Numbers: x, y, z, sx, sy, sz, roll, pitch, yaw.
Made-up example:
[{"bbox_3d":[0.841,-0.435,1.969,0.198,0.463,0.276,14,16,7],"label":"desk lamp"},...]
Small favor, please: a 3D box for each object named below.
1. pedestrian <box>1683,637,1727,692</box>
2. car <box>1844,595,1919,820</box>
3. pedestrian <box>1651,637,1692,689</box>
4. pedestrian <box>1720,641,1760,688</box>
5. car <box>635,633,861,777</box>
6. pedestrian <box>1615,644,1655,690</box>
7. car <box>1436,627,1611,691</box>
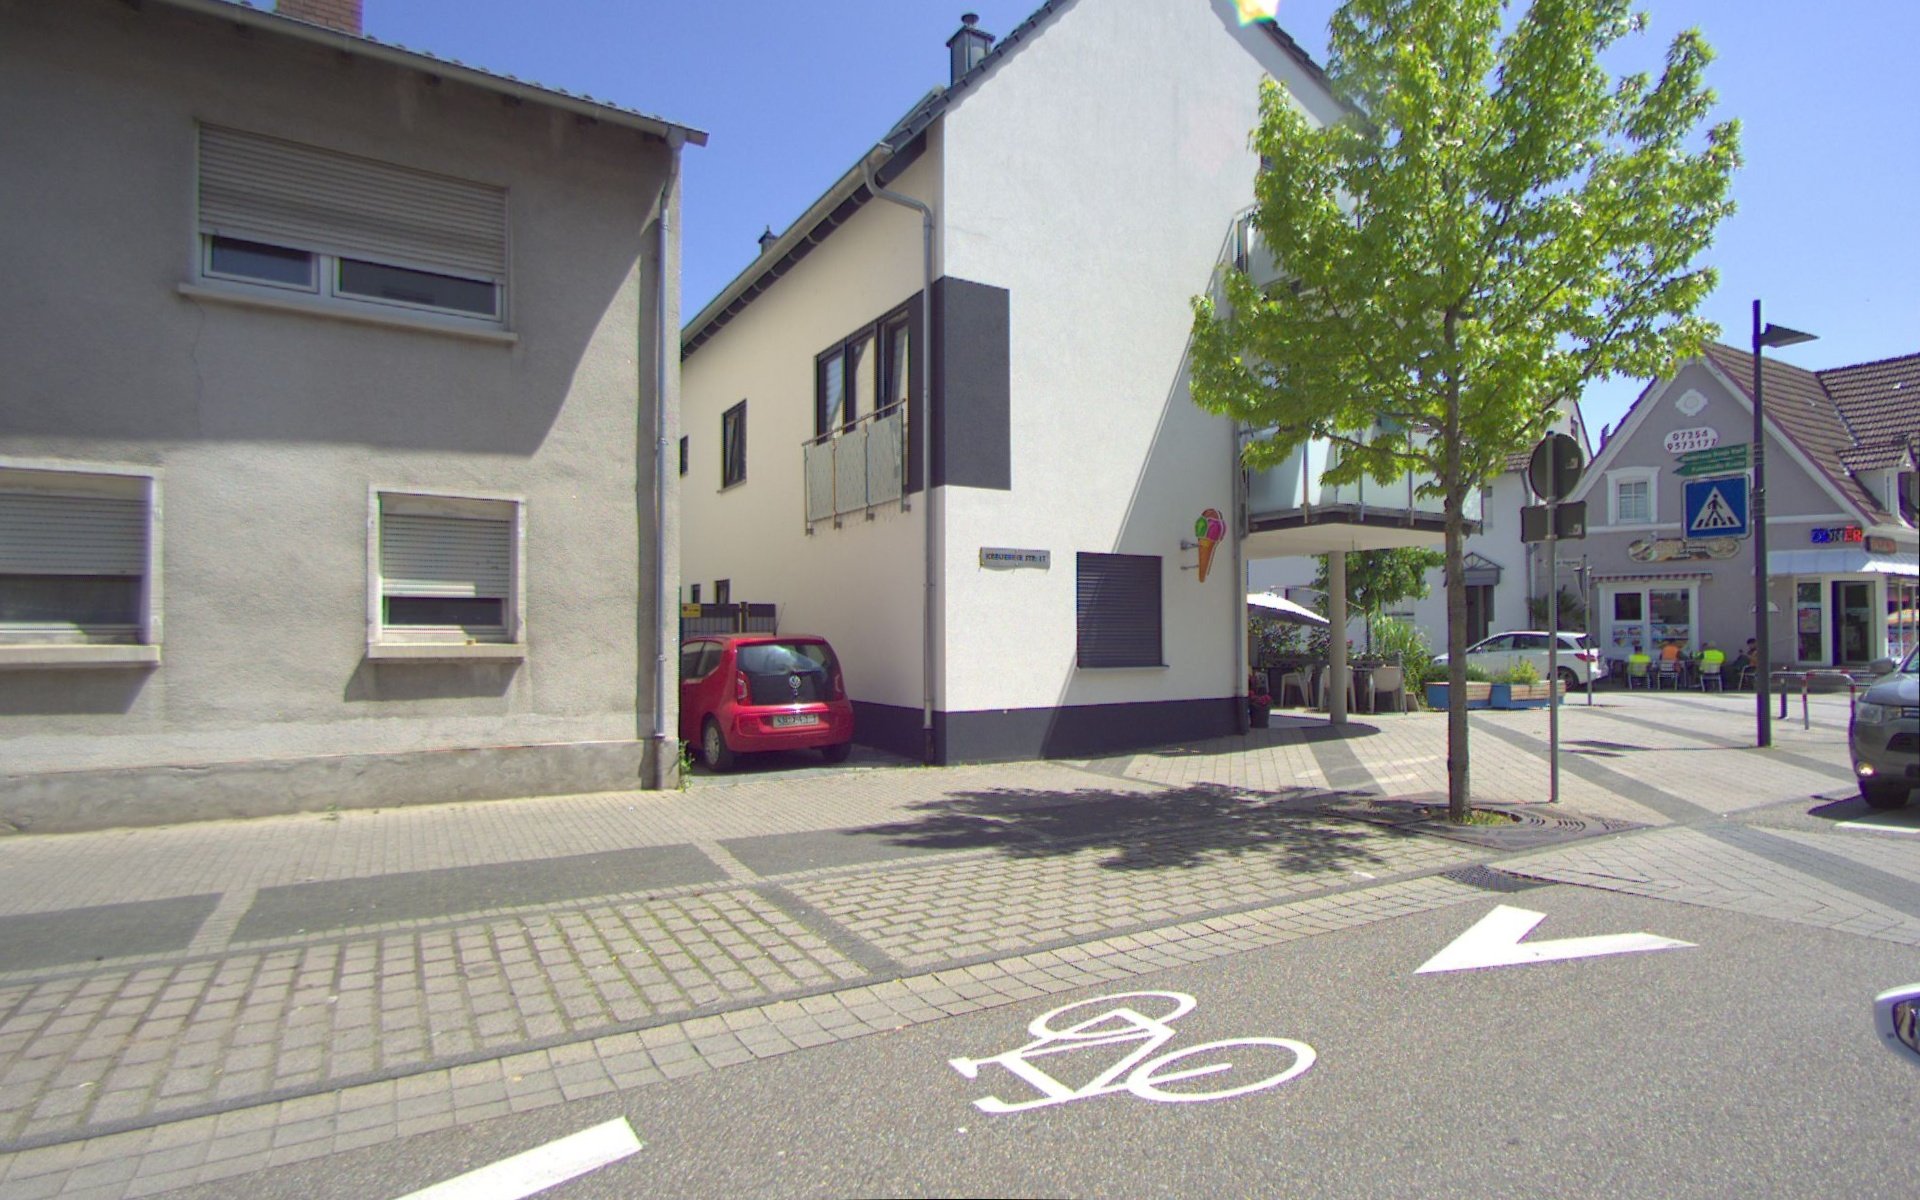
[{"bbox_3d":[18.779,1.612,25.319,0.623,1.306,0.789,1,0,17],"label":"pedestrian"},{"bbox_3d":[9.377,0.855,8.608,4.187,1.738,1.665,1,-2,-34],"label":"car"},{"bbox_3d":[18.628,1.633,26.301,0.623,1.306,0.789,1,0,17],"label":"pedestrian"},{"bbox_3d":[19.954,1.638,25.711,0.689,1.194,0.618,1,-2,-34],"label":"pedestrian"},{"bbox_3d":[-2.614,1.137,11.966,1.571,1.462,3.094,1,-2,-35],"label":"car"},{"bbox_3d":[17.703,1.742,26.357,0.623,1.131,0.789,1,0,17],"label":"pedestrian"},{"bbox_3d":[15.278,1.568,27.350,3.875,1.566,1.509,-2,-1,44],"label":"car"}]
